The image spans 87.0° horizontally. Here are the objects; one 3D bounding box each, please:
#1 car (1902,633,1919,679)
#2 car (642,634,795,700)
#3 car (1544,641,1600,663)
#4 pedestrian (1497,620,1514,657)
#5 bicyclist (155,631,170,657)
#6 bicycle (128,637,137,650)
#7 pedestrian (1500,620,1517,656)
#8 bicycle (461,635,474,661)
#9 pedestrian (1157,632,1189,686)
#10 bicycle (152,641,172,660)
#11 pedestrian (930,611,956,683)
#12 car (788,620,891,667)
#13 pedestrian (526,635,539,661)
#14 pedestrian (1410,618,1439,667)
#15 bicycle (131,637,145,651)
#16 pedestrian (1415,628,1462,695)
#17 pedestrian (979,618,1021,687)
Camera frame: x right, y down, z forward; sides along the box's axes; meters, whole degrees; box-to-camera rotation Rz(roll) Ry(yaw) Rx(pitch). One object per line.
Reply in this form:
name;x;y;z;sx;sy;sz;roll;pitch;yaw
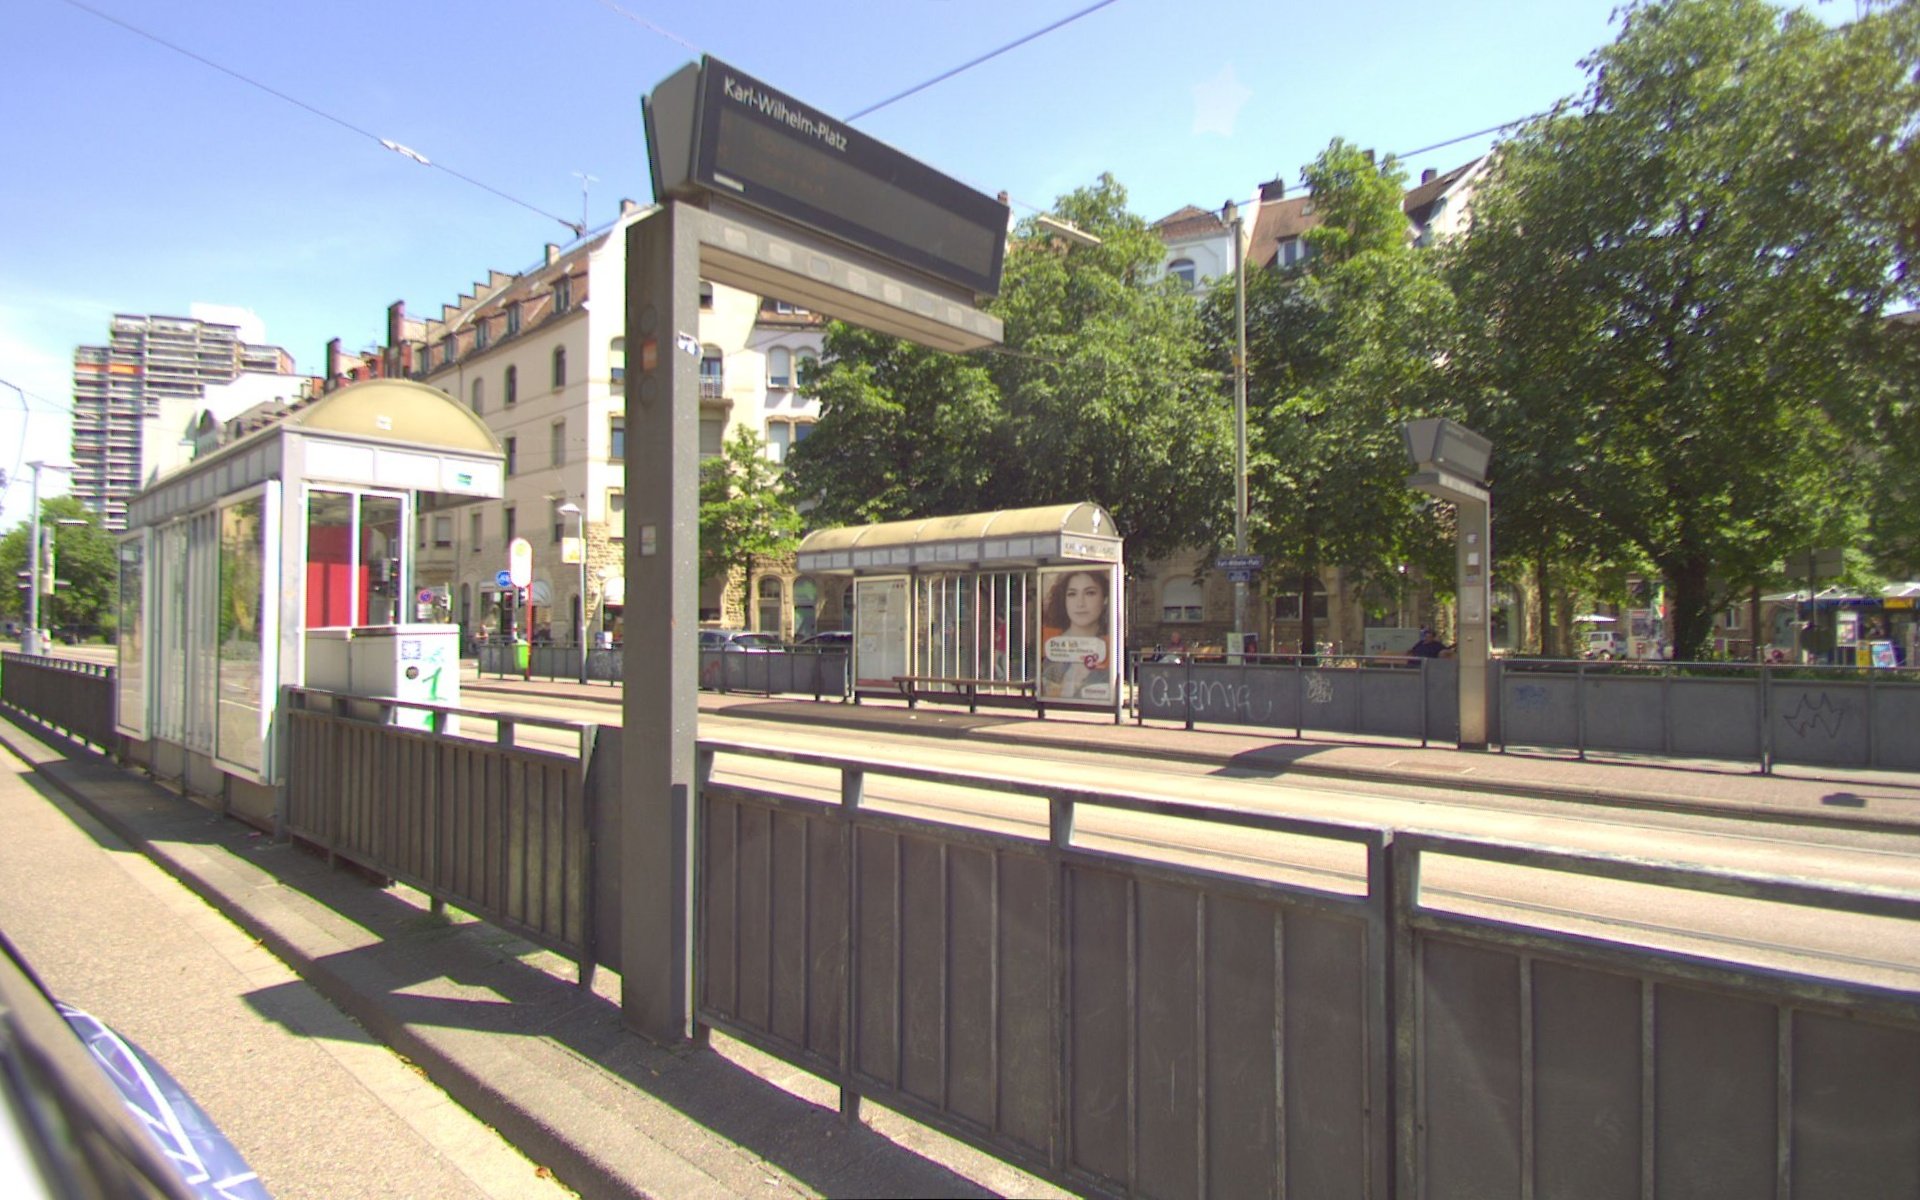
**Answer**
car;32.279;1.796;32.571;3.676;1.453;1.546;0;-1;-24
car;-5.594;1.480;23.262;3.716;1.349;1.525;-1;-1;40
car;26.510;2.245;43.866;1.899;0.872;0.856;-1;-1;17
pedestrian;24.270;1.690;45.023;0.526;1.635;0.491;-1;-2;41
bicyclist;-49.639;2.758;62.991;0.585;1.586;0.602;-1;-2;41
bicycle;-66.138;3.477;80.897;1.899;1.054;0.286;-1;-2;42
pedestrian;24.612;1.696;45.408;0.560;1.635;0.507;-1;-2;41
bicycle;-24.099;2.330;49.521;0.447;1.234;2.086;0;-1;-29
pedestrian;5.113;1.412;24.327;0.637;1.265;0.549;0;-1;2
bicycle;-49.613;3.119;62.940;1.977;1.166;0.621;-2;-2;42
pedestrian;-0.454;1.235;26.927;0.504;1.893;0.494;1;-2;-44
car;-4.236;1.525;35.789;3.534;1.587;1.584;0;-1;-4
pedestrian;-19.390;2.191;45.895;0.405;1.157;0.401;-1;-2;38
pedestrian;17.029;1.547;37.088;0.606;1.764;0.719;0;-1;-25
bicycle;-64.613;3.477;79.533;2.046;1.105;0.487;-2;-2;42
pedestrian;9.454;1.207;20.012;0.637;1.297;0.618;0;-1;2
pedestrian;0.969;1.248;24.440;0.772;1.618;0.673;-1;-2;38
